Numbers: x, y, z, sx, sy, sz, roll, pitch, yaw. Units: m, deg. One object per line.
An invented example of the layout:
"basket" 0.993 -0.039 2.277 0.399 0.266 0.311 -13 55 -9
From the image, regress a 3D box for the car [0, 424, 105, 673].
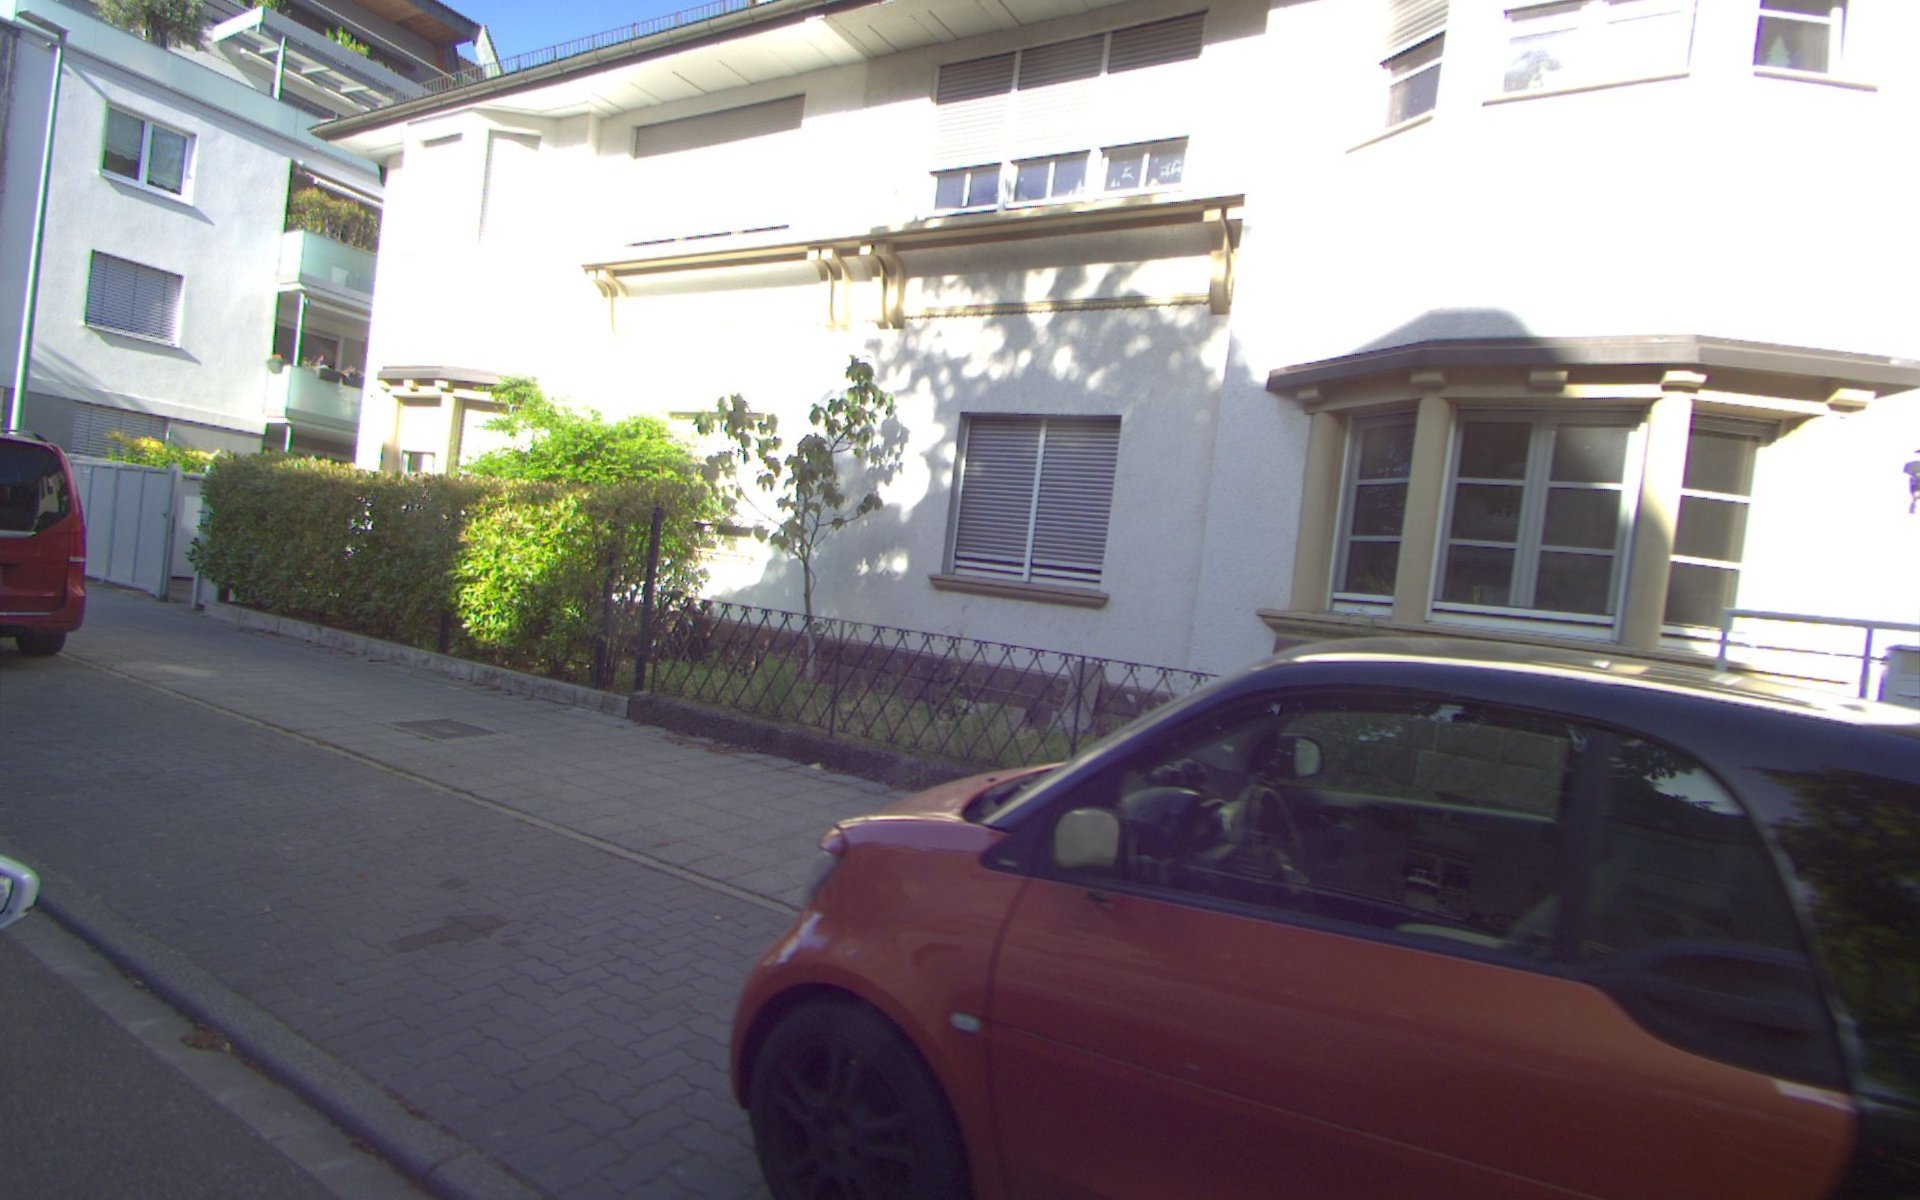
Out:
"car" -9.752 -0.634 8.902 5.113 1.930 1.872 6 1 33

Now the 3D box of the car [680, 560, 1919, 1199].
"car" 1.144 0.838 2.270 3.193 1.500 1.592 7 2 31
